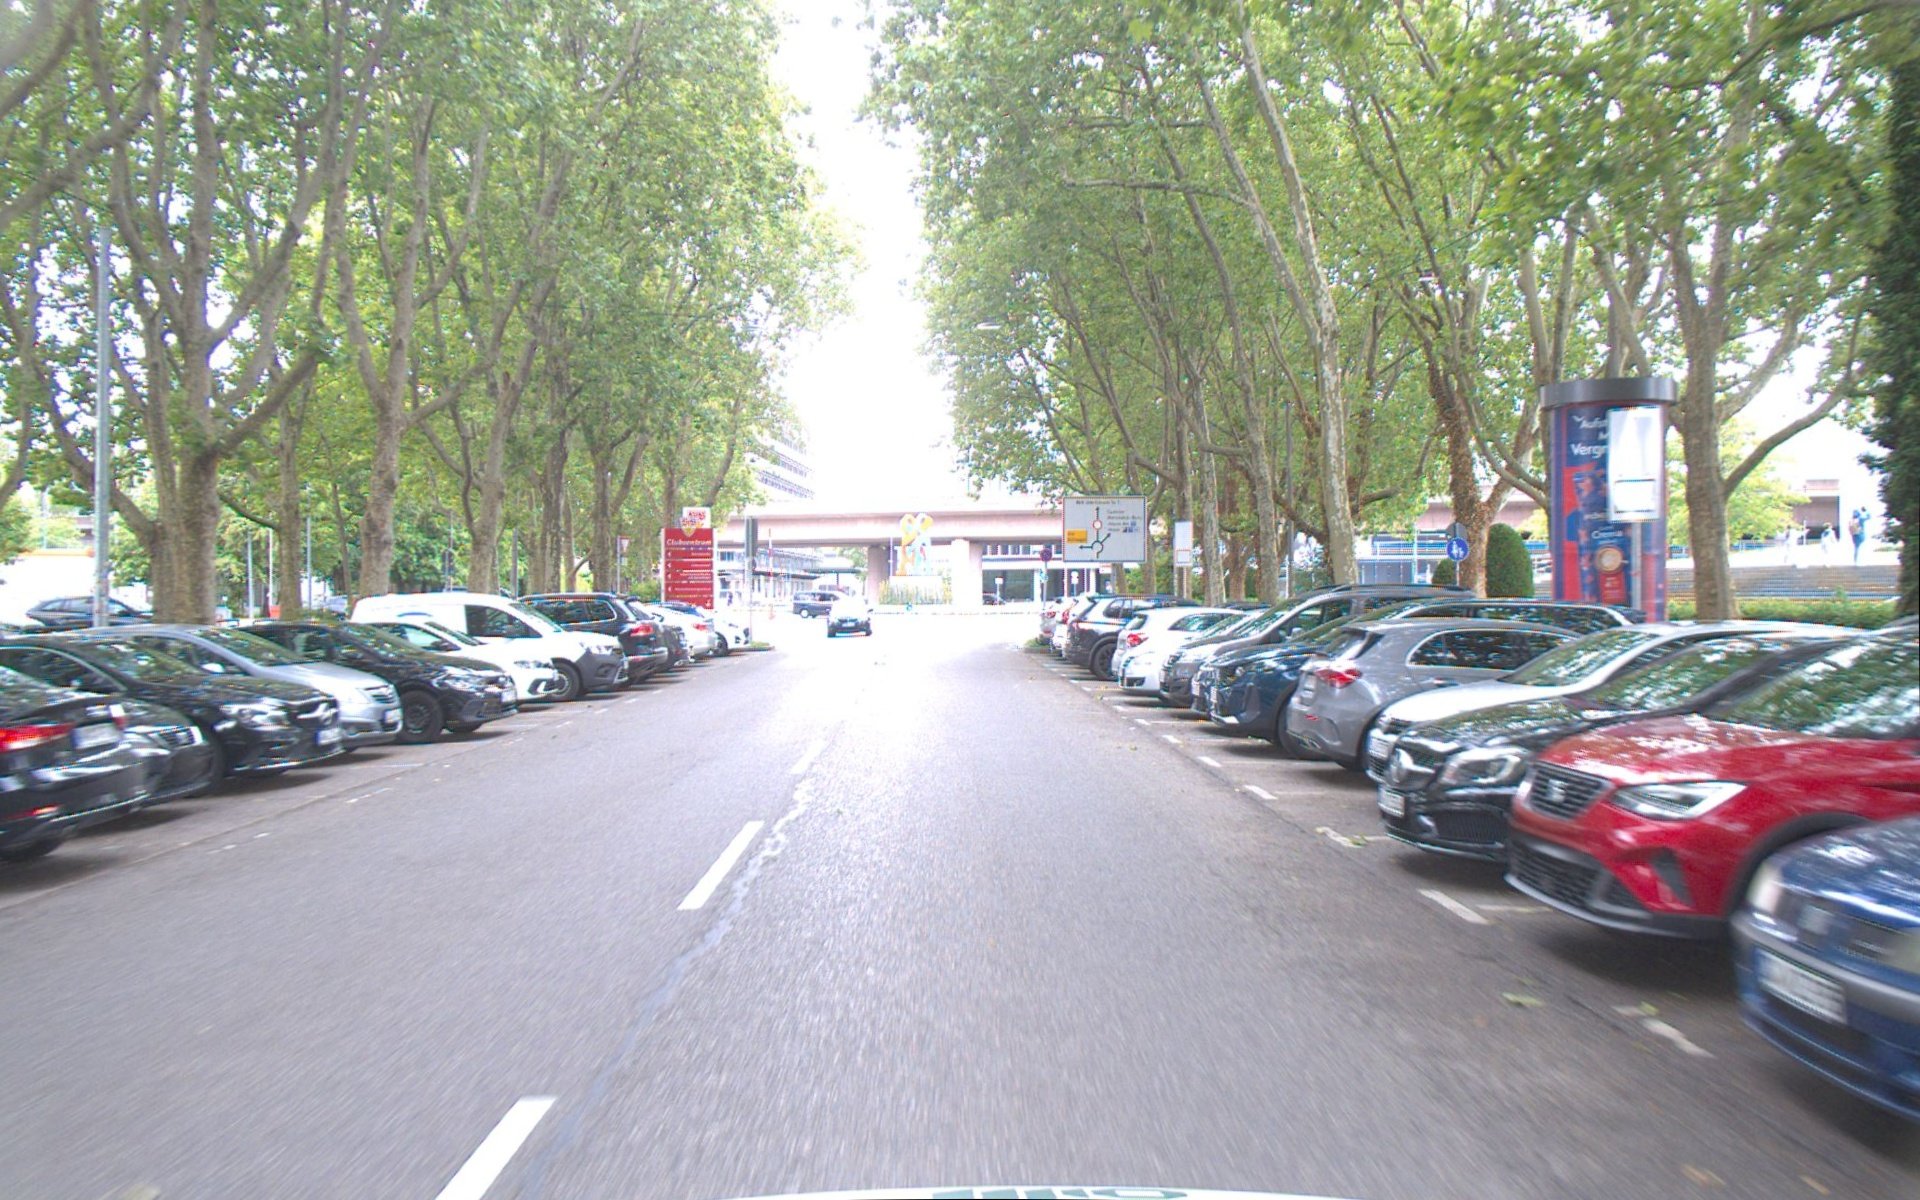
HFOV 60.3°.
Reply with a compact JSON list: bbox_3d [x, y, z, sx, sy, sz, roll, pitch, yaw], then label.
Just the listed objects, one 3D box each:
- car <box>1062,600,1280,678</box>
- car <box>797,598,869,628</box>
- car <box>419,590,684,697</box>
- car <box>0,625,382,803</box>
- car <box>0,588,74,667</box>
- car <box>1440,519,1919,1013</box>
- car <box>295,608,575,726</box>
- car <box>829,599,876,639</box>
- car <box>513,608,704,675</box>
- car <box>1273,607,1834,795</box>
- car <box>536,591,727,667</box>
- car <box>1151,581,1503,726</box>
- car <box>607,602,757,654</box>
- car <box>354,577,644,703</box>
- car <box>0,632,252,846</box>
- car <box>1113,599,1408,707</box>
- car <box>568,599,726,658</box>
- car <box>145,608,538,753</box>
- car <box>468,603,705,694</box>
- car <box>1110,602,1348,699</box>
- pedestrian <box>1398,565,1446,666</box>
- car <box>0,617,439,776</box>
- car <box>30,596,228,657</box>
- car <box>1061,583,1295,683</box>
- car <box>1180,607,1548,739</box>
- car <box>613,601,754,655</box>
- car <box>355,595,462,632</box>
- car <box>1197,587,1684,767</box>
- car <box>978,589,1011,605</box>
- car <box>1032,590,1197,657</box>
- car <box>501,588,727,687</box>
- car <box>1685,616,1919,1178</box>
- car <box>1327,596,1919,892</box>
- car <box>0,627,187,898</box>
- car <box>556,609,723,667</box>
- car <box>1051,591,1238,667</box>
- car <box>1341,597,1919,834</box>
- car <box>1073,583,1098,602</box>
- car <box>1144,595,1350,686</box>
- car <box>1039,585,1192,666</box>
[{"bbox_3d":[4.377,0.798,34.719,4.259,1.481,1.949,1,0,-3],"label":"car"},{"bbox_3d":[-8.986,0.944,117.571,4.666,2.049,2.285,0,-1,11],"label":"car"},{"bbox_3d":[-7.241,0.759,29.678,4.229,1.826,2.036,0,-1,-1],"label":"car"},{"bbox_3d":[-7.743,1.007,14.862,4.371,1.371,1.902,-2,0,0],"label":"car"},{"bbox_3d":[-22.894,0.608,37.682,4.233,1.739,2.131,0,-1,-2],"label":"car"},{"bbox_3d":[4.691,0.644,7.427,4.410,1.828,2.044,1,0,-7],"label":"car"},{"bbox_3d":[-7.659,0.944,24.454,3.716,1.497,1.760,-2,0,-12],"label":"car"},{"bbox_3d":[-4.339,0.759,67.176,1.805,1.536,4.013,0,0,-2],"label":"car"},{"bbox_3d":[-7.806,0.922,37.011,3.907,1.429,1.884,0,-1,-2],"label":"car"},{"bbox_3d":[5.097,0.843,14.645,4.257,1.438,1.925,1,0,-1],"label":"car"},{"bbox_3d":[-7.810,0.676,39.635,4.179,1.575,1.907,-3,0,-3],"label":"car"},{"bbox_3d":[4.839,0.682,22.196,4.259,1.776,1.836,1,0,-3],"label":"car"},{"bbox_3d":[-7.913,0.786,47.304,3.910,1.409,1.912,0,-1,2],"label":"car"},{"bbox_3d":[-7.475,0.621,27.158,4.233,1.841,1.866,-2,0,-5],"label":"car"},{"bbox_3d":[-7.891,1.055,12.306,4.374,1.390,1.859,-2,0,-3],"label":"car"},{"bbox_3d":[4.412,0.762,24.663,4.064,1.483,1.727,1,0,-1],"label":"car"},{"bbox_3d":[-8.418,0.759,44.762,3.913,1.520,1.832,0,-1,-1],"label":"car"},{"bbox_3d":[-7.186,0.912,19.474,3.896,1.445,1.756,-3,0,2],"label":"car"},{"bbox_3d":[-7.185,0.910,32.120,4.044,1.477,2.013,-3,0,1],"label":"car"},{"bbox_3d":[4.377,0.811,27.206,3.567,1.452,1.664,1,0,-4],"label":"car"},{"bbox_3d":[9.547,0.319,34.194,0.772,2.049,0.596,1,-1,-17],"label":"pedestrian"},{"bbox_3d":[-7.878,0.959,17.053,4.373,1.393,1.879,-2,0,-2],"label":"car"},{"bbox_3d":[-22.518,0.712,44.970,4.233,1.575,2.203,0,-1,-2],"label":"car"},{"bbox_3d":[4.201,0.621,32.324,4.259,1.791,1.924,1,0,-3],"label":"car"},{"bbox_3d":[4.735,0.841,19.776,3.958,1.404,1.743,1,0,-1],"label":"car"},{"bbox_3d":[-8.274,0.835,49.708,3.911,1.567,1.805,0,-1,0],"label":"car"},{"bbox_3d":[-23.809,0.587,71.498,3.905,1.549,2.001,0,-1,-1],"label":"car"},{"bbox_3d":[4.843,0.746,17.146,4.496,1.668,1.873,1,0,1],"label":"car"},{"bbox_3d":[4.117,-0.335,197.080,1.963,1.803,3.979,0,-1,40],"label":"car"},{"bbox_3d":[4.134,0.616,44.705,4.257,1.662,1.925,1,0,-1],"label":"car"},{"bbox_3d":[-7.071,0.742,34.137,4.230,1.841,1.867,-2,0,-1],"label":"car"},{"bbox_3d":[4.712,0.822,4.807,4.403,1.444,1.829,1,0,1],"label":"car"},{"bbox_3d":[4.574,0.794,9.862,4.263,1.528,1.923,1,0,-7],"label":"car"},{"bbox_3d":[-6.904,0.955,9.732,3.852,1.422,1.702,-2,0,-3],"label":"car"},{"bbox_3d":[-8.155,0.958,42.367,3.906,1.430,1.861,0,-1,-1],"label":"car"},{"bbox_3d":[4.370,0.676,39.665,4.257,1.662,1.925,1,0,-1],"label":"car"},{"bbox_3d":[5.184,0.794,12.198,4.258,1.528,1.925,1,0,-2],"label":"car"},{"bbox_3d":[13.934,-0.844,182.946,1.951,2.049,4.002,0,-1,16],"label":"car"},{"bbox_3d":[5.143,0.712,29.918,3.365,1.518,1.680,-1,0,-2],"label":"car"},{"bbox_3d":[4.148,0.668,44.583,3.905,2.049,2.000,1,0,-1],"label":"car"}]
